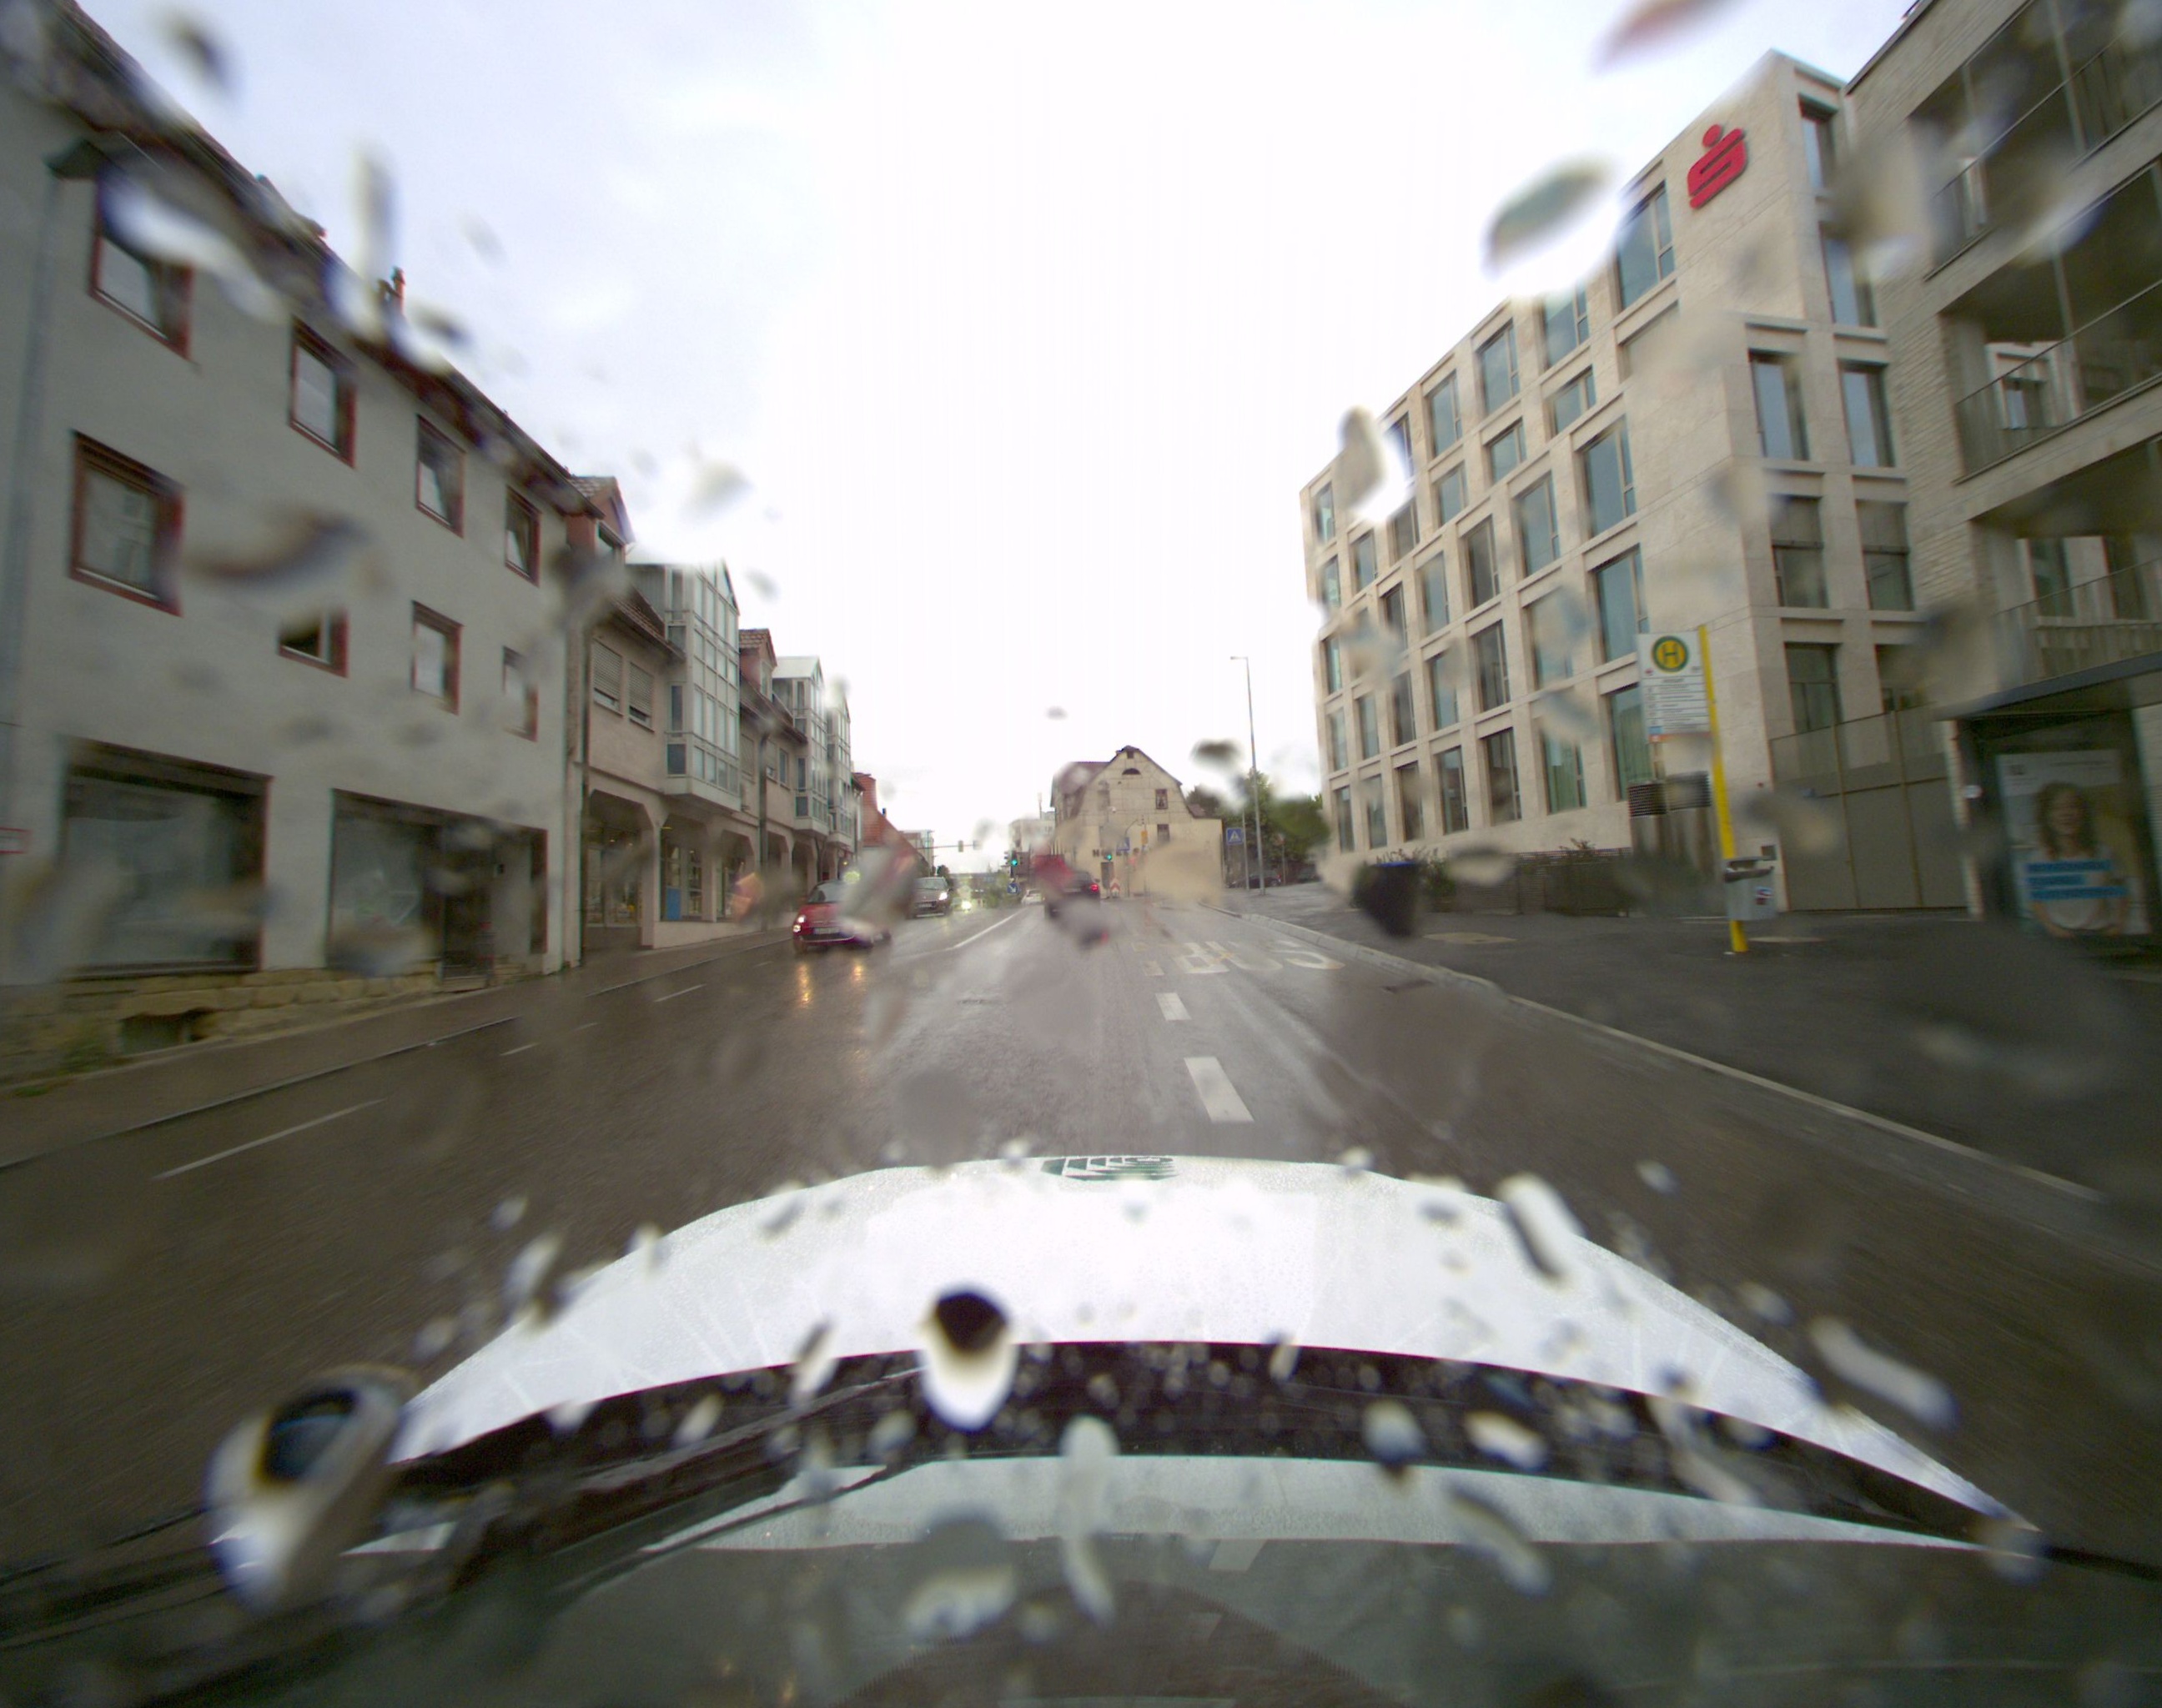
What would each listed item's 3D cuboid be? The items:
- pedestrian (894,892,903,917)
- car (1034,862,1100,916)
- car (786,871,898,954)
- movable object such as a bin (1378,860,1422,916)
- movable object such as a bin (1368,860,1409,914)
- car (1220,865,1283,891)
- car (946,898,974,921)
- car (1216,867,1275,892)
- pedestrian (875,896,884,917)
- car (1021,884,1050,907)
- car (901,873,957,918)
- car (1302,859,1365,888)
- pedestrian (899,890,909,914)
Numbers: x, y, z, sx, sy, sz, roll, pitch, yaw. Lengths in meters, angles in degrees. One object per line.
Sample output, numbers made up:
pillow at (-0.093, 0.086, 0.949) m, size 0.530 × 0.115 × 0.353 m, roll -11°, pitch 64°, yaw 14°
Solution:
pedestrian at (-14.254, 3.958, 63.498) m, size 0.536 × 1.871 × 0.631 m, roll -4°, pitch -3°, yaw -15°
car at (-0.416, 1.085, 26.959) m, size 1.938 × 1.567 × 4.416 m, roll -3°, pitch -1°, yaw 0°
car at (-5.204, 1.208, 18.159) m, size 1.556 × 1.536 × 3.444 m, roll -4°, pitch -1°, yaw -4°
movable object such as a bin at (6.319, 0.668, 16.166) m, size 0.593 × 1.062 × 0.579 m, roll -3°, pitch -1°, yaw 2°
movable object such as a bin at (6.353, 0.675, 16.855) m, size 0.593 × 1.062 × 0.579 m, roll -3°, pitch -1°, yaw 2°
car at (13.030, 1.867, 62.412) m, size 4.308 × 1.505 × 1.769 m, roll -4°, pitch -6°, yaw -14°
car at (-9.271, 4.241, 62.694) m, size 1.884 × 1.467 × 3.991 m, roll -4°, pitch -1°, yaw -6°
car at (13.359, 2.065, 66.256) m, size 4.177 × 1.519 × 1.770 m, roll -4°, pitch -6°, yaw -13°
pedestrian at (-15.735, 4.103, 63.667) m, size 0.593 × 1.559 × 0.631 m, roll -4°, pitch -3°, yaw -15°
car at (-3.417, 3.094, 60.759) m, size 1.884 × 1.467 × 3.992 m, roll -4°, pitch -1°, yaw -5°
car at (-6.201, 1.663, 33.642) m, size 1.779 × 1.630 × 4.208 m, roll -3°, pitch -1°, yaw -5°
car at (20.039, 1.551, 64.590) m, size 4.306 × 1.816 × 1.770 m, roll -4°, pitch -6°, yaw -13°
pedestrian at (-14.338, 3.900, 65.932) m, size 0.604 × 1.868 × 0.744 m, roll -4°, pitch -3°, yaw -15°
